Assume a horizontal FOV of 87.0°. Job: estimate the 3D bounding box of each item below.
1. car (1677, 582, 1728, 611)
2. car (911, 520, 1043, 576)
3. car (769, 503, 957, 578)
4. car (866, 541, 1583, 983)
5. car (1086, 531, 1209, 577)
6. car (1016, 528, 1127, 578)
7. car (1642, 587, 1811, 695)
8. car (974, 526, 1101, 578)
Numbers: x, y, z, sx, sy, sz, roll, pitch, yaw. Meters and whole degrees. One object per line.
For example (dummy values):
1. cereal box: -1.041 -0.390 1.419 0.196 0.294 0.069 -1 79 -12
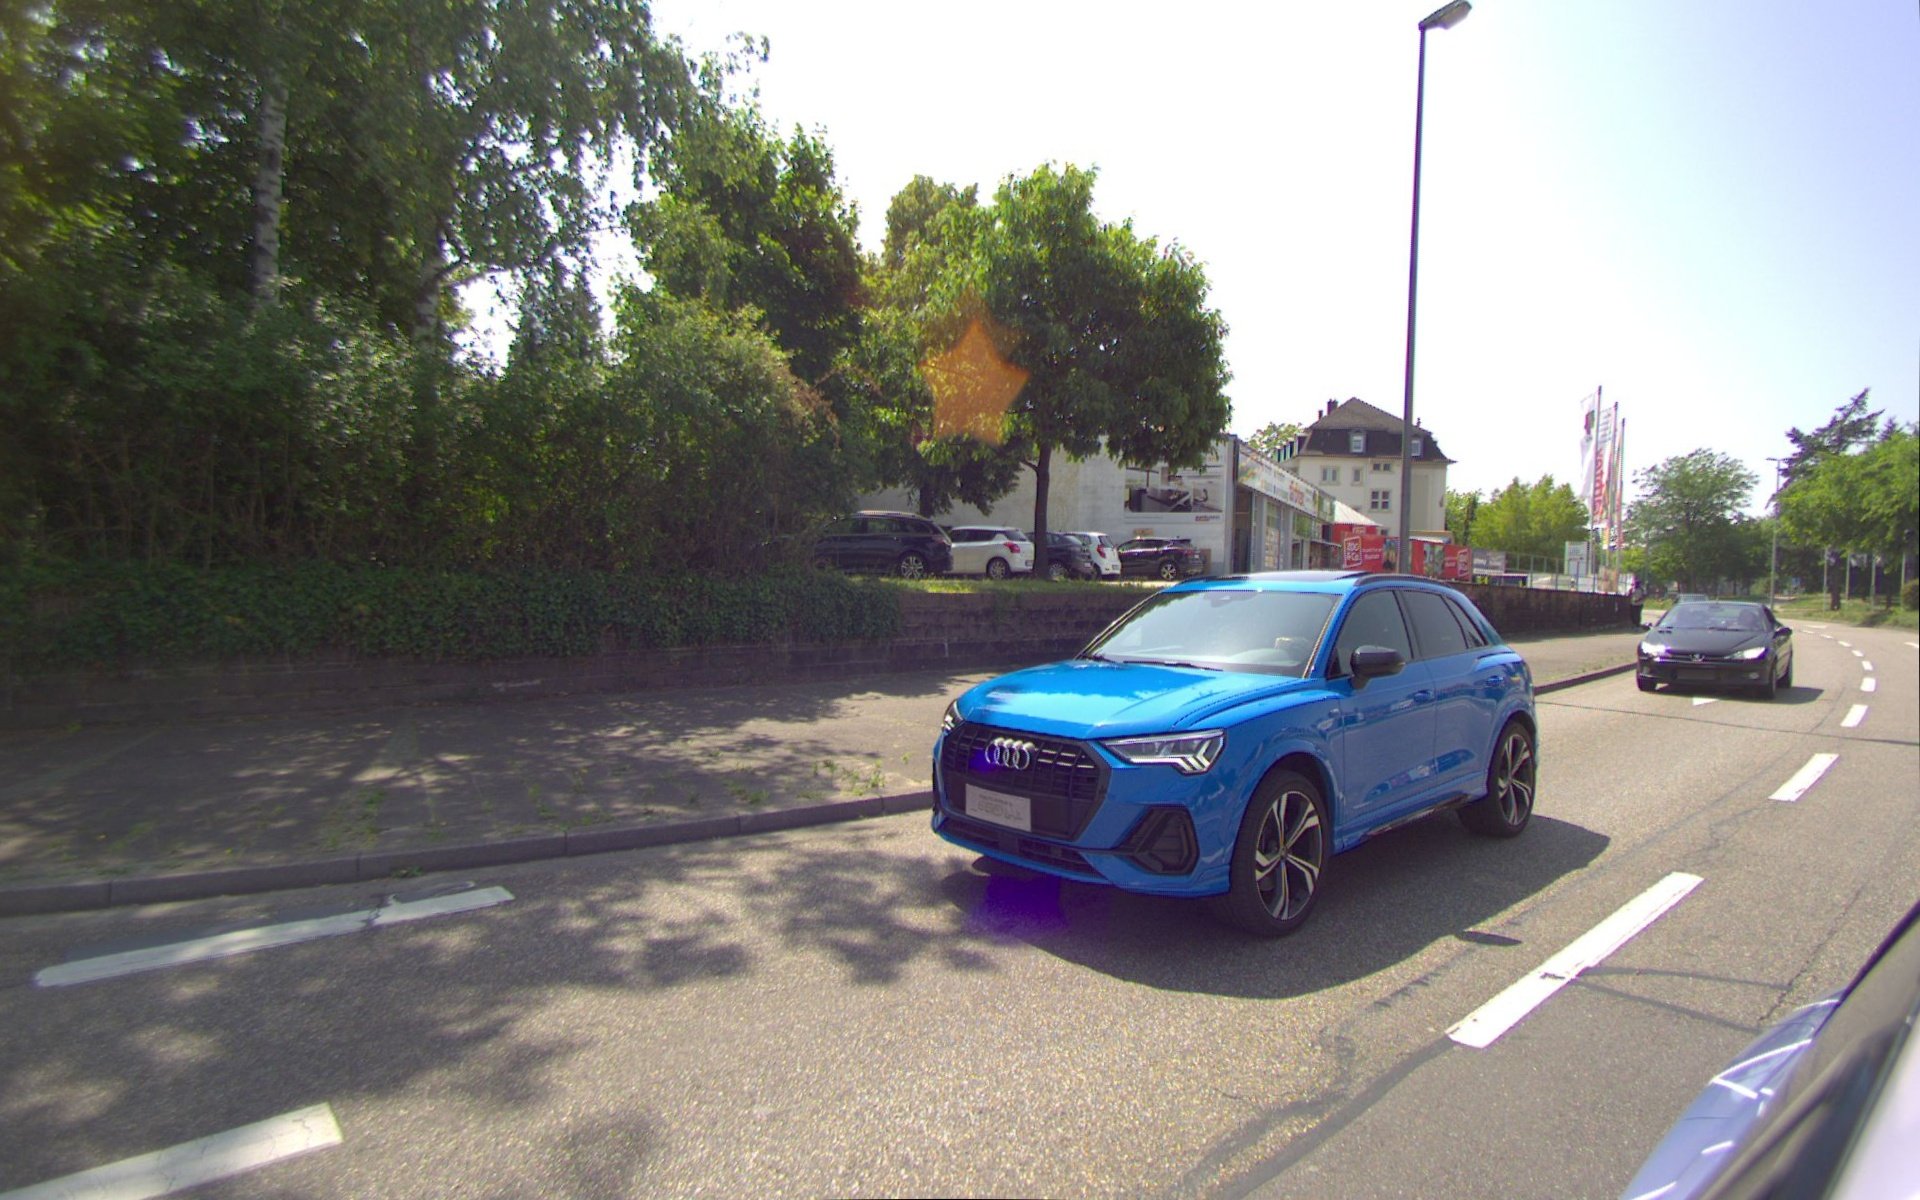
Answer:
1. car: 42.148 -0.210 57.558 1.683 1.390 3.964 2 4 27
2. car: 0.449 -1.366 27.335 3.264 1.429 1.513 1 1 31
3. car: -2.152 -1.240 21.953 3.768 1.502 2.004 -1 0 -15
4. car: 1.778 0.575 5.854 4.319 1.617 1.916 1 1 -41
5. car: 6.657 -1.632 36.067 3.967 1.559 1.720 2 1 31
6. car: 3.454 -1.447 31.535 3.133 1.490 1.485 2 1 34
7. car: 11.794 0.530 15.500 1.600 1.443 3.602 0 1 45
8. car: 2.241 -1.367 29.330 3.294 1.403 1.641 1 1 31
